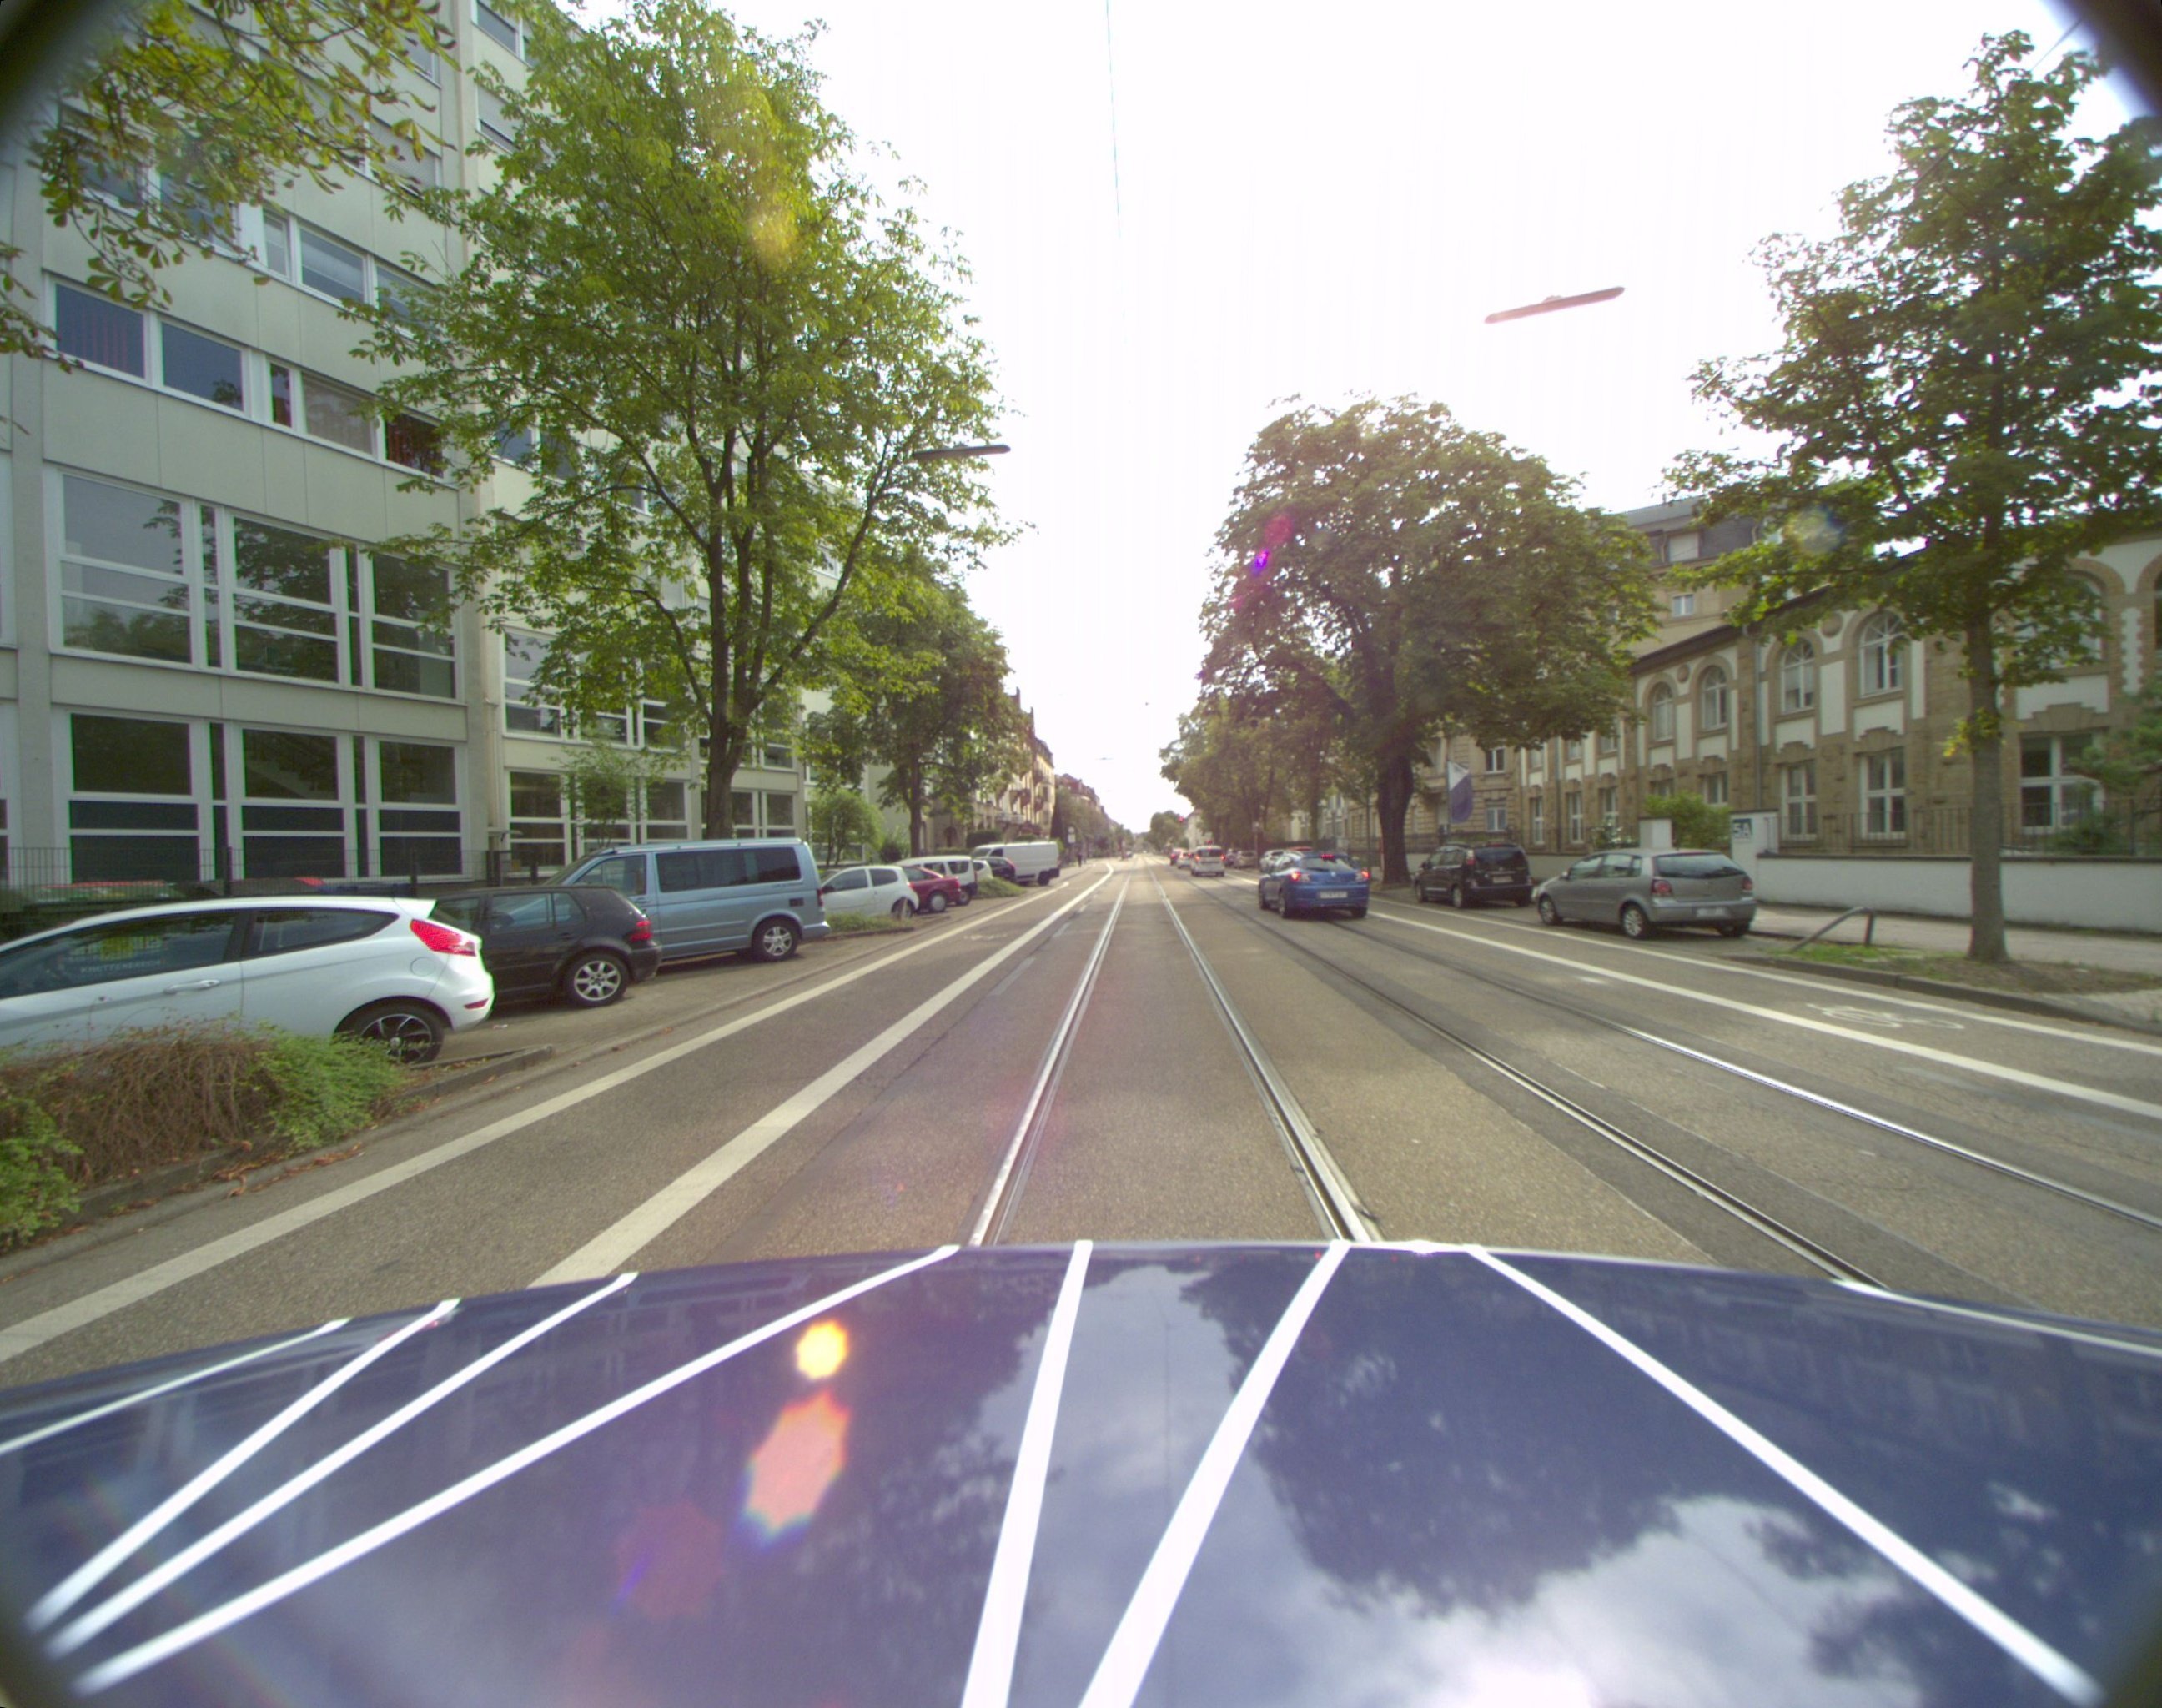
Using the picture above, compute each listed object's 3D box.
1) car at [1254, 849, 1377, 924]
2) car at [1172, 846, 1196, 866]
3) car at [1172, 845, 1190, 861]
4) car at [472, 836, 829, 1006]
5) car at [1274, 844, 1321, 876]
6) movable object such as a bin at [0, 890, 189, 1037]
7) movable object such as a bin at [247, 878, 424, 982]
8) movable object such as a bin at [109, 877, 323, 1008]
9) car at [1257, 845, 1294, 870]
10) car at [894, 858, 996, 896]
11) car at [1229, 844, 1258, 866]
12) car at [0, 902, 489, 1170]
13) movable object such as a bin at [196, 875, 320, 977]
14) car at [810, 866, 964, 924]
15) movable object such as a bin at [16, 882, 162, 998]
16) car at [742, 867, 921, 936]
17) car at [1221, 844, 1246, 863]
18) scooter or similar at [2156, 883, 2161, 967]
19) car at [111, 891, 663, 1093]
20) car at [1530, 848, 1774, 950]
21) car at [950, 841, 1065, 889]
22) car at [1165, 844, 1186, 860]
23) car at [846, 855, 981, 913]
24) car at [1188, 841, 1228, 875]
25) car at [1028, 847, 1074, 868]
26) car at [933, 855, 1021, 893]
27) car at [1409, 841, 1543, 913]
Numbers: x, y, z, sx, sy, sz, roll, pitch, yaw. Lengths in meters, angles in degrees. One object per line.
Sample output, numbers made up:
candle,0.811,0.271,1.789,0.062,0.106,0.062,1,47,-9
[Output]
car,5.250,0.655,17.612,1.736,1.488,4.379,-1,0,4
car,8.611,0.141,63.526,1.736,1.603,4.335,-1,1,5
car,12.172,-0.139,92.626,1.799,1.813,4.679,-2,0,4
car,-6.410,0.819,11.620,4.354,2.052,1.994,-2,1,-42
car,11.996,0.296,42.259,1.658,1.624,3.907,-2,0,4
movable object such as a bin,-11.918,1.228,8.891,1.333,1.494,1.354,-2,1,8
movable object such as a bin,-11.612,1.150,11.905,1.333,1.450,1.401,-2,1,8
movable object such as a bin,-11.704,1.155,10.354,1.333,1.587,1.354,-2,1,8
car,12.999,0.203,50.982,1.658,1.592,3.907,-2,0,4
car,-5.471,0.881,30.825,3.652,1.322,1.763,-3,1,-42
car,13.140,0.061,61.531,1.658,1.624,3.907,-2,0,4
car,-6.736,1.197,5.367,3.869,1.385,1.629,-2,1,-42
movable object such as a bin,-13.872,1.170,12.821,1.177,1.559,1.177,-1,1,32
car,-5.439,1.094,21.510,3.777,1.331,1.810,-3,1,-37
movable object such as a bin,-14.831,1.232,11.375,1.177,1.559,1.177,-1,1,32
car,-5.929,1.056,18.270,3.652,1.322,1.763,-3,1,-42
car,13.801,-0.087,68.818,1.658,1.624,3.907,-2,0,4
scooter or similar,9.156,0.784,5.794,1.002,1.160,0.370,-4,0,28
car,-6.993,1.229,8.200,3.980,1.379,1.810,-3,0,-42
car,9.496,0.654,13.023,1.632,1.456,3.574,-2,0,3
car,-3.683,0.502,38.662,5.449,2.163,2.142,-3,1,-37
car,10.065,-0.247,81.098,1.852,1.603,4.335,-2,0,4
car,-5.349,0.901,24.443,3.777,1.609,1.810,-3,1,-37
car,7.515,0.188,45.297,1.736,1.873,4.378,-2,0,3
car,-2.675,0.299,67.142,3.649,1.666,1.764,-2,1,-22
car,-4.780,0.881,34.930,3.649,1.580,1.764,-2,1,-22
car,10.018,0.523,19.593,1.658,1.624,3.726,-2,0,4
